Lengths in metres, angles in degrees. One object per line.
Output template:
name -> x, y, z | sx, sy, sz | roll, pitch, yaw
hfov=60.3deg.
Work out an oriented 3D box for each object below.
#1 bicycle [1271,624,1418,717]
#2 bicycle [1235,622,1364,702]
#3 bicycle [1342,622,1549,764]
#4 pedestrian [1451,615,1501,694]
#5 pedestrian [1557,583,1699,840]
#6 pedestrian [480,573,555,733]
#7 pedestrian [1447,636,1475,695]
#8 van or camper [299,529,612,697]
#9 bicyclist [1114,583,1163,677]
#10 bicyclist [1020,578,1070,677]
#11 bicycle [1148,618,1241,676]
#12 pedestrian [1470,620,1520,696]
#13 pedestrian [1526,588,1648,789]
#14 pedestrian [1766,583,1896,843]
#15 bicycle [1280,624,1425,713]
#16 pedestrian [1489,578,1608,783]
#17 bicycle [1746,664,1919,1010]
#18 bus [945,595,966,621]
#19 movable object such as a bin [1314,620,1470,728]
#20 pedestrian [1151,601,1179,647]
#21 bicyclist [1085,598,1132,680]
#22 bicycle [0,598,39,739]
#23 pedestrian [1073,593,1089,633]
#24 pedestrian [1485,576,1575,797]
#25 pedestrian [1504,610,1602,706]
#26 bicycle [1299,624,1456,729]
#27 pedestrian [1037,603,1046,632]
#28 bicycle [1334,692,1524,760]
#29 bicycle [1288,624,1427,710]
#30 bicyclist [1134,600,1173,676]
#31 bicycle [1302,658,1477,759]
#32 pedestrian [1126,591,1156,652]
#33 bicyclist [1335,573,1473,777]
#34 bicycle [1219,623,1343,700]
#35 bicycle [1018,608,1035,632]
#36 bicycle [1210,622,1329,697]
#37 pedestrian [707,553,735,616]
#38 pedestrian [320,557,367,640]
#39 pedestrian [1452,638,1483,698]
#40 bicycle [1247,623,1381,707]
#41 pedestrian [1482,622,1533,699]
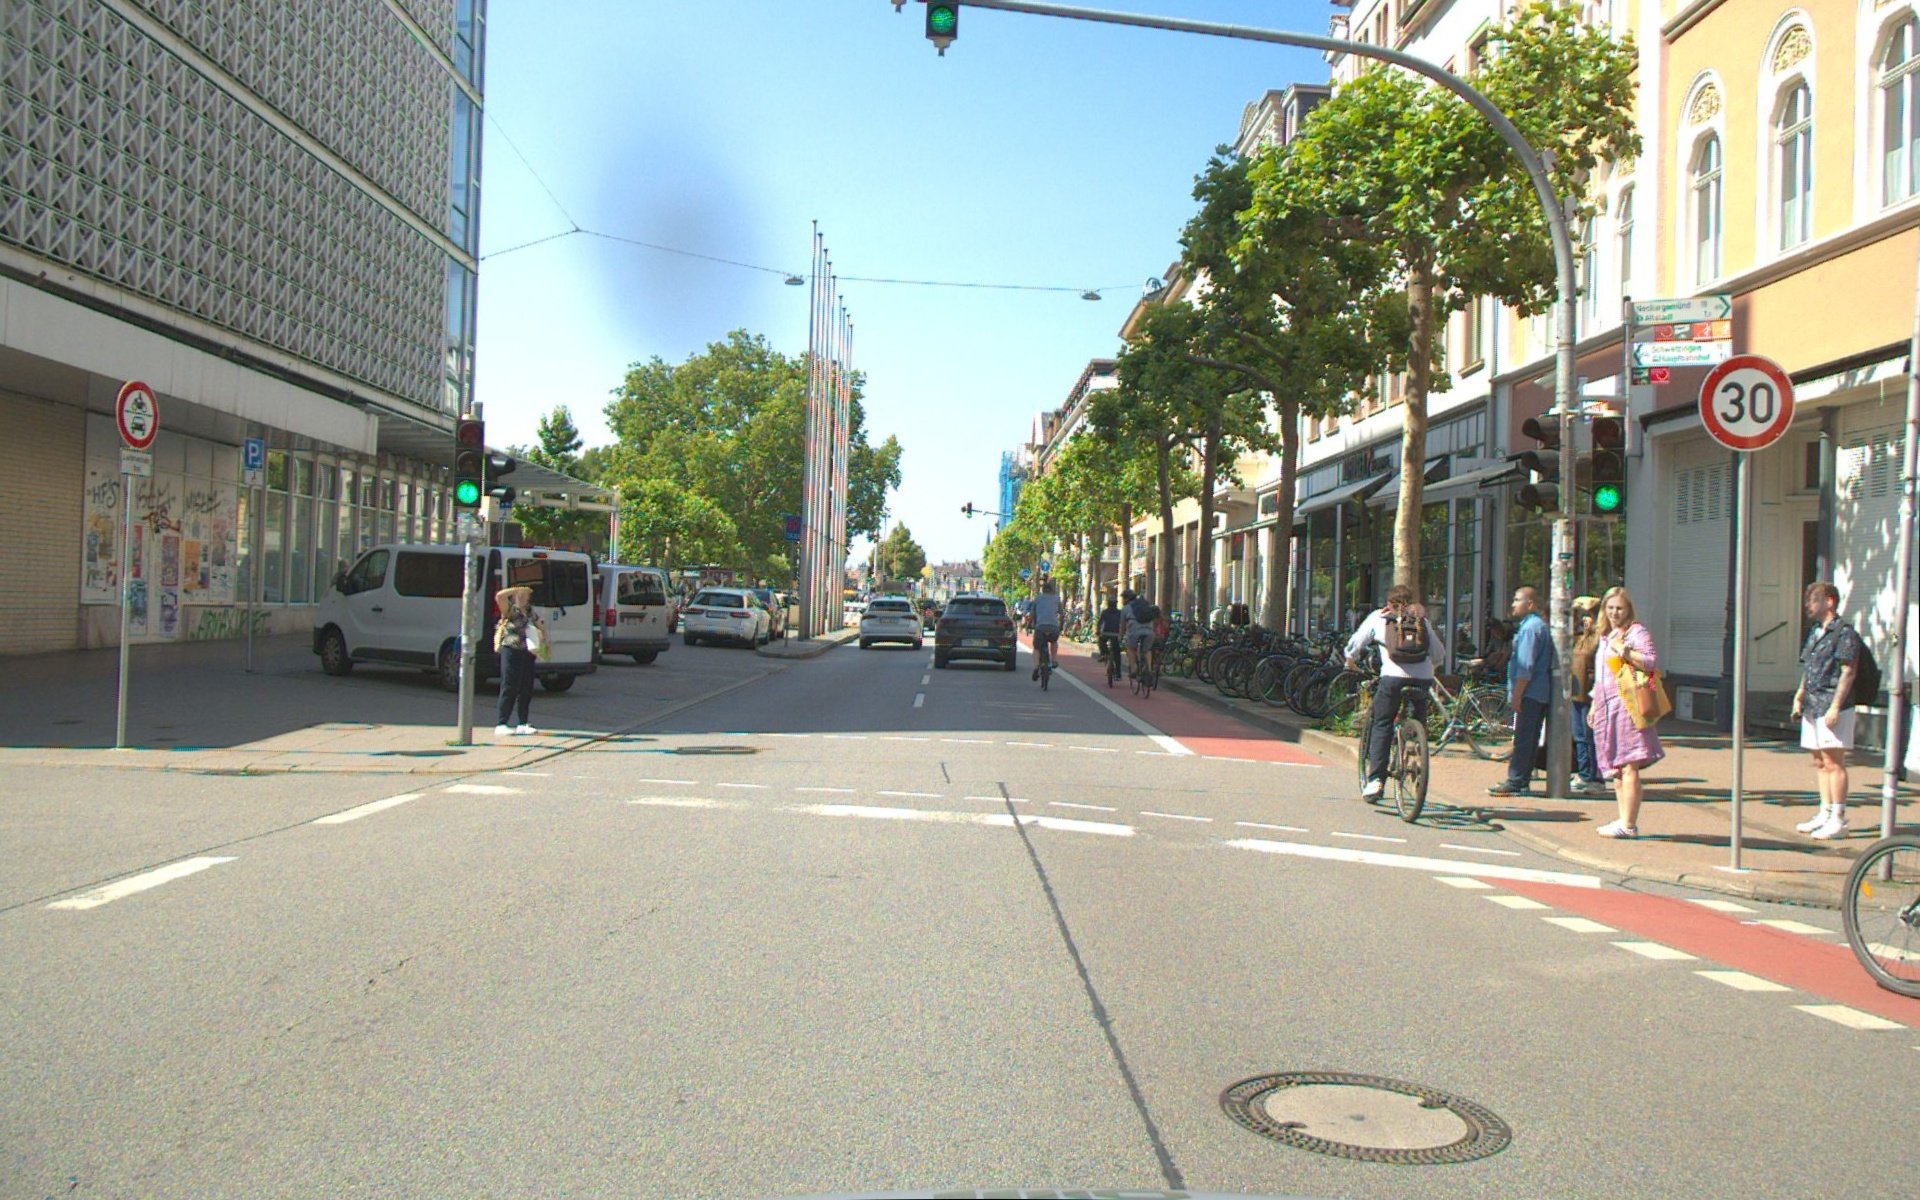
bicycle -> 5.019, 0.913, 21.681 | 1.801, 1.147, 0.667 | 1, -1, 7
bicycle -> 5.135, 0.932, 25.074 | 1.802, 1.147, 0.666 | 1, -1, 1
bicycle -> 4.925, 0.908, 16.836 | 1.822, 1.209, 0.713 | 6, 3, 38
pedestrian -> 9.204, 0.968, 29.498 | 0.667, 1.356, 0.531 | 2, 0, -3
pedestrian -> 4.749, 0.781, 11.794 | 0.626, 1.739, 0.789 | 3, -2, -4
pedestrian -> -4.562, 0.534, 17.092 | 0.628, 1.586, 0.679 | 3, 0, -12
pedestrian -> 8.643, 1.127, 28.535 | 0.334, 0.985, 0.437 | 2, 0, 1
van or camper -> -7.244, 0.132, 23.527 | 4.574, 2.048, 1.990 | 4, 1, 39
bicyclist -> 2.955, 0.489, 27.478 | 0.617, 1.507, 1.198 | 2, 0, -1
bicyclist -> 1.453, 0.467, 28.380 | 0.758, 1.664, 0.851 | 1, 0, 0
bicycle -> 4.906, 0.982, 34.656 | 1.802, 1.112, 0.564 | 3, -1, -1
pedestrian -> 9.162, 0.983, 28.355 | 0.667, 1.275, 0.531 | 0, 0, -3
pedestrian -> 5.556, 0.766, 14.683 | 0.771, 1.720, 0.641 | 2, 0, -3
pedestrian -> 6.560, 0.833, 12.486 | 0.625, 1.875, 0.615 | 4, -1, 11
bicycle -> 5.309, 0.925, 22.454 | 1.802, 1.147, 0.666 | 1, -1, 1
pedestrian -> 5.457, 0.728, 15.362 | 0.772, 1.826, 0.641 | 3, 0, -3
bicycle -> 4.200, 0.979, 6.326 | 0.721, 1.291, 2.269 | 2, 1, -19
bus -> -0.697, 1.239, 246.241 | 2.934, 3.657, 11.741 | 2, -1, -1
movable object such as a bin -> 5.424, 0.915, 20.815 | 1.812, 1.209, 0.653 | 4, 0, 15
pedestrian -> 5.700, 0.665, 45.945 | 0.626, 1.254, 0.596 | 3, -1, -3
bicyclist -> 2.733, 0.708, 30.565 | 0.684, 1.466, 0.790 | 3, -1, -4
bicycle -> -9.555, 0.642, 14.915 | 0.719, 1.289, 2.211 | 3, 1, 21
pedestrian -> 5.104, 0.537, 69.760 | 0.602, 1.640, 0.745 | 2, 0, 1
pedestrian -> 4.851, 0.718, 14.101 | 0.443, 1.826, 0.607 | 3, 0, -3
pedestrian -> 9.160, 0.892, 25.578 | 1.208, 1.447, 0.789 | 1, -1, -3
bicycle -> 5.130, 0.929, 20.370 | 1.801, 1.146, 0.346 | 4, 1, 15
pedestrian -> 4.660, 0.988, 94.467 | 0.537, 1.659, 0.589 | 0, -1, 3
bicycle -> 5.289, 1.440, 18.767 | 1.124, 0.441, 1.841 | -9, -4, -26
bicycle -> 5.620, 0.940, 23.427 | 1.802, 1.147, 0.666 | 1, -1, 1
bicyclist -> 3.572, 0.693, 30.507 | 0.588, 1.381, 0.720 | 0, 0, -4
bicycle -> 5.059, 1.293, 19.566 | 1.814, 0.401, 1.024 | 10, -36, 4
pedestrian -> 5.293, 0.622, 48.355 | 0.626, 1.718, 0.843 | 4, 0, -3
bicyclist -> 3.399, 0.557, 12.724 | 0.684, 1.471, 0.960 | 3, -1, -4
bicycle -> 5.006, 0.951, 25.885 | 1.802, 1.147, 0.666 | 1, -1, 1
bicycle -> 3.008, 0.885, 74.677 | 0.634, 1.015, 2.030 | 2, 0, -1
bicycle -> 4.963, 0.954, 26.579 | 1.802, 1.147, 0.530 | 1, -1, 1
pedestrian -> -7.068, -0.464, 48.890 | 0.522, 1.824, 0.536 | 2, -1, 39
pedestrian -> -11.962, -0.030, 32.093 | 0.665, 1.586, 0.640 | 1, 0, -5
pedestrian -> 8.548, 1.137, 27.868 | 0.357, 0.985, 0.437 | 2, 0, 1
bicycle -> 5.124, 0.937, 24.027 | 1.802, 1.147, 0.643 | 1, -1, 1
pedestrian -> 9.179, 1.003, 27.757 | 0.626, 1.275, 0.608 | 0, -1, -3
